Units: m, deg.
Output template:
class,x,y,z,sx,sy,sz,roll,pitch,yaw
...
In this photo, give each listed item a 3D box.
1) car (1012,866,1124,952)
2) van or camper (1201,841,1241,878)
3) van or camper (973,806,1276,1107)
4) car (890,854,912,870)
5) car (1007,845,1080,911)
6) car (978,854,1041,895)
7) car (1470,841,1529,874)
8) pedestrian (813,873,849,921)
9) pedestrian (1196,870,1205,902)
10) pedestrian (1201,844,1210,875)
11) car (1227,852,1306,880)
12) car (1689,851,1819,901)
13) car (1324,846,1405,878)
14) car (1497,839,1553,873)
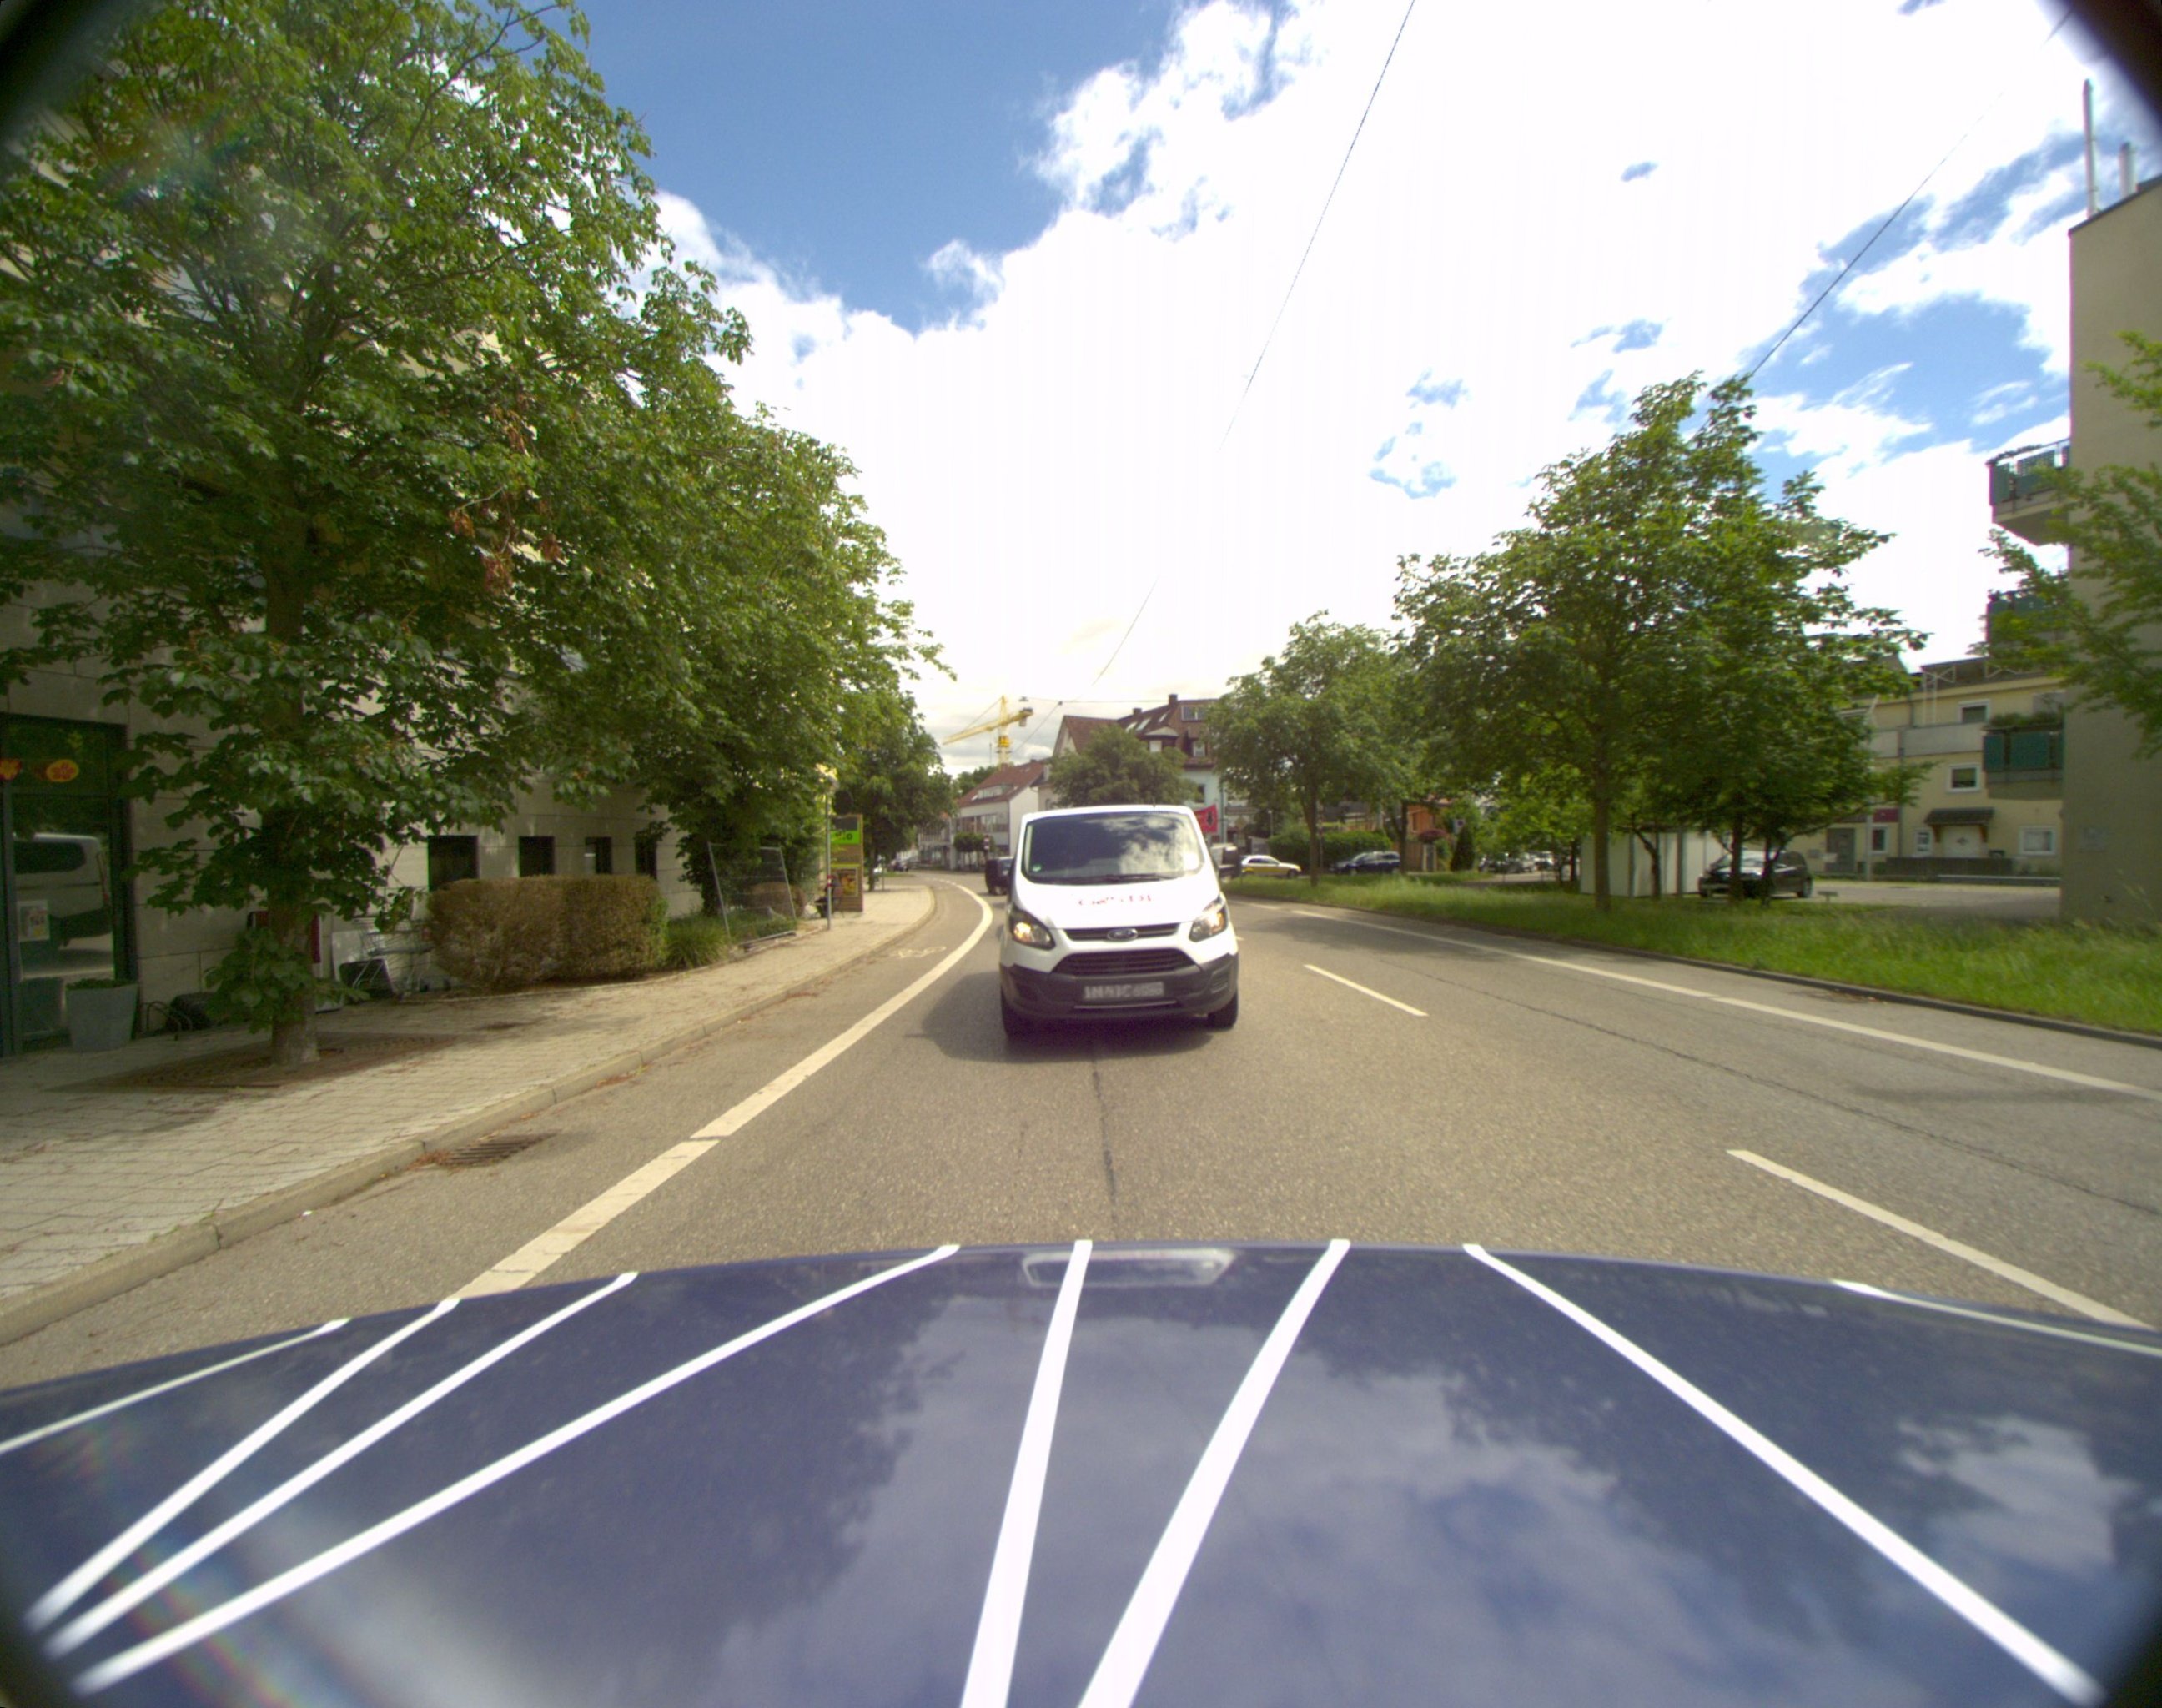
class,x,y,z,sx,sy,sz,roll,pitch,yaw
car,-0.398,0.999,15.352,1.841,1.382,3.997,-1,0,-7
van or camper,8.591,0.293,46.940,1.794,2.077,3.810,-3,1,2
van or camper,0.199,0.670,7.670,2.027,2.002,5.101,-1,0,-2
car,-21.800,0.909,91.838,1.744,1.840,3.991,-1,1,-26
car,-1.266,0.673,24.024,1.853,1.805,3.996,-3,1,-8
car,-3.065,0.796,31.749,1.695,1.477,3.993,-4,1,-19
car,26.571,0.221,48.201,4.008,2.002,1.976,-1,0,-41
pedestrian,-7.047,1.194,21.454,0.731,1.293,0.754,-1,1,0
pedestrian,7.716,2.052,49.173,0.425,2.002,0.363,-3,2,1
pedestrian,8.063,0.348,49.130,0.383,1.979,0.443,-3,2,0
car,10.429,0.661,42.838,4.046,1.314,1.534,-3,1,-13
car,20.616,0.653,23.245,4.007,1.411,1.789,1,-1,-30
car,16.017,0.422,43.005,3.976,1.672,1.717,-1,1,-4
car,29.858,0.114,51.061,4.007,2.002,1.995,-4,2,-41
